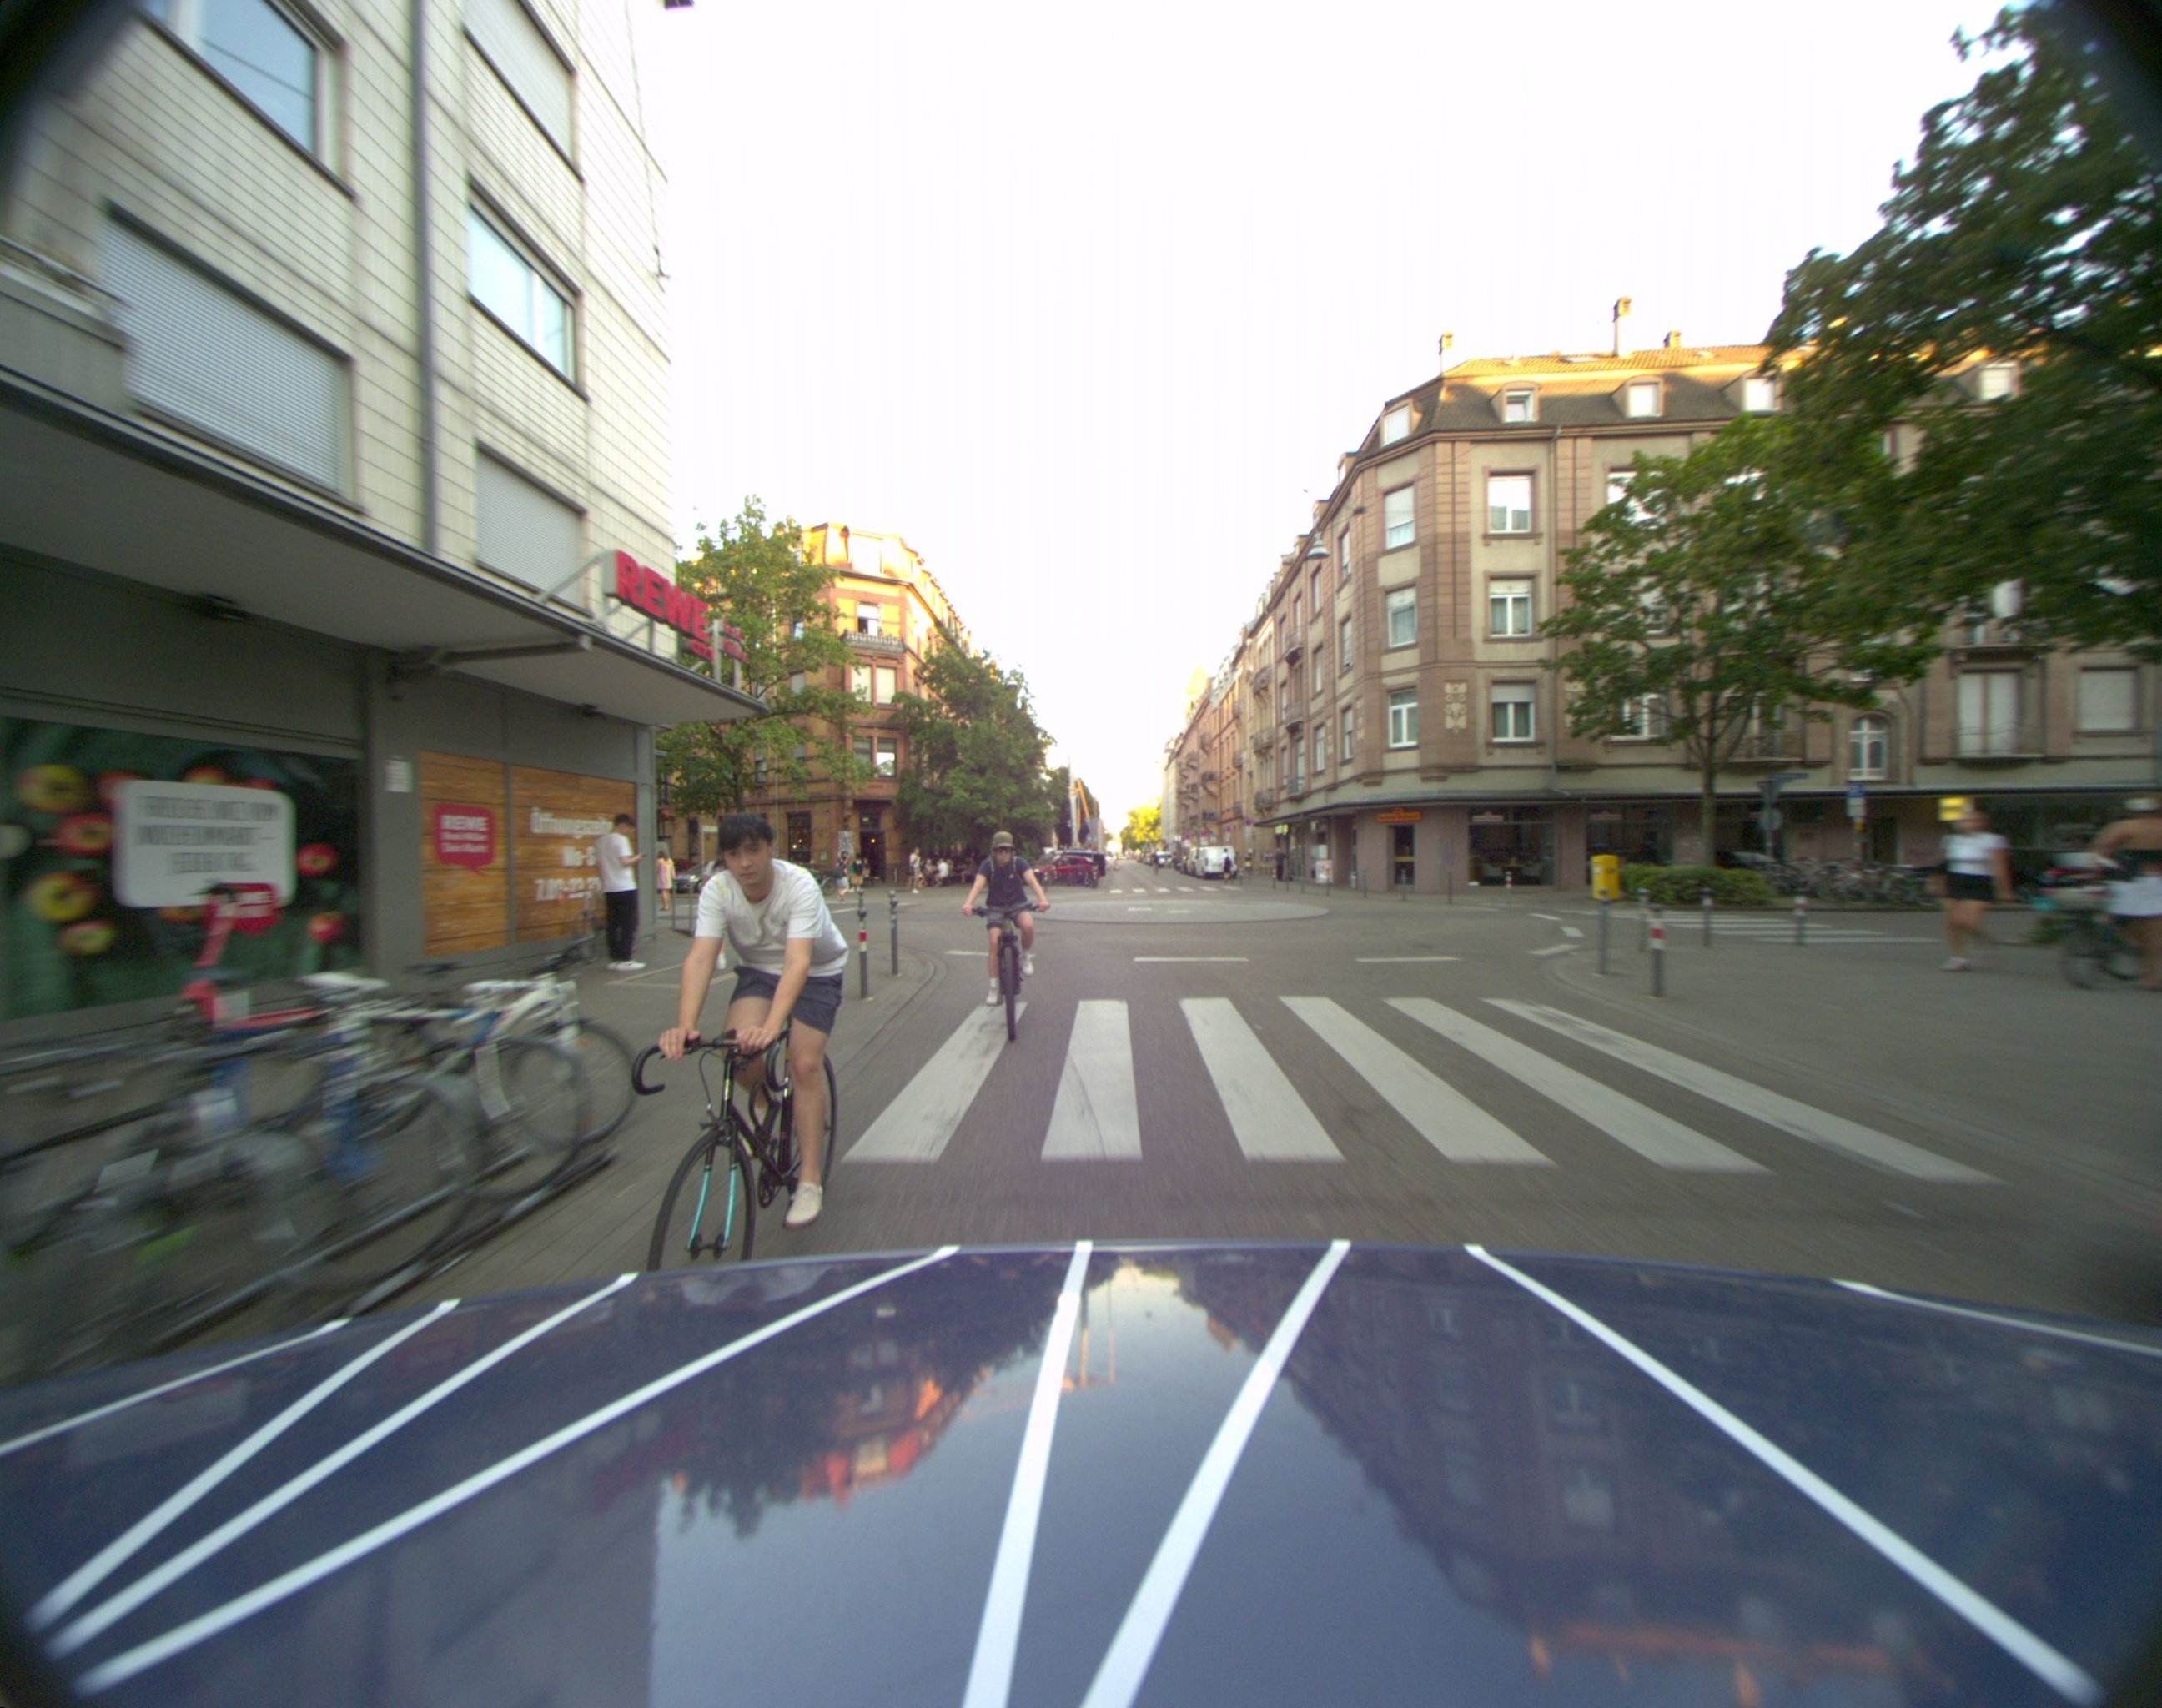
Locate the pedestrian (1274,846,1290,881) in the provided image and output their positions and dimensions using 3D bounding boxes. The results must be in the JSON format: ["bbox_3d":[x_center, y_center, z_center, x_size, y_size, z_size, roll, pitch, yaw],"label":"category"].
[{"bbox_3d":[10.270,0.481,38.842,0.654,1.768,0.693,-2,0,21],"label":"pedestrian"}]

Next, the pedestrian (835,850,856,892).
[{"bbox_3d":[-10.052,0.716,32.449,0.675,1.735,0.640,-2,2,-6],"label":"pedestrian"}]

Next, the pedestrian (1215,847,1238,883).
[{"bbox_3d":[7.280,0.542,38.012,0.747,1.733,1.215,-1,1,28],"label":"pedestrian"}]

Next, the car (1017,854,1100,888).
[{"bbox_3d":[-1.200,0.876,40.906,4.005,1.658,1.823,-2,2,-29],"label":"car"}]

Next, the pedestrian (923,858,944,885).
[{"bbox_3d":[-7.071,0.835,36.373,0.673,1.265,0.641,0,2,29],"label":"pedestrian"}]

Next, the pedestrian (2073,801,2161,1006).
[{"bbox_3d":[10.035,0.446,7.190,1.024,1.844,0.723,-1,-1,-37],"label":"pedestrian"}]

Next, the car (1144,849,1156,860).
[{"bbox_3d":[11.602,0.063,127.891,1.907,1.729,3.850,-1,1,6],"label":"car"}]

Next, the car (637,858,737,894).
[{"bbox_3d":[-18.748,1.009,36.356,1.624,1.494,3.982,-1,2,27],"label":"car"}]

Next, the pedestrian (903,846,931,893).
[{"bbox_3d":[-6.655,0.617,30.870,0.673,1.858,0.911,-1,2,17],"label":"pedestrian"}]

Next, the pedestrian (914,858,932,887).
[{"bbox_3d":[-7.260,0.833,34.912,0.676,1.265,0.639,-2,2,-25],"label":"pedestrian"}]

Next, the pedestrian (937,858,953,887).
[{"bbox_3d":[-6.303,0.846,35.187,0.641,1.265,0.674,-2,2,-12],"label":"pedestrian"}]

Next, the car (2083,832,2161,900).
[{"bbox_3d":[30.008,0.335,19.998,1.998,1.828,4.000,0,2,3],"label":"car"}]

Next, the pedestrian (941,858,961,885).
[{"bbox_3d":[-6.249,0.819,36.542,0.639,1.265,0.676,0,2,41],"label":"pedestrian"}]

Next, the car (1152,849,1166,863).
[{"bbox_3d":[10.959,0.239,106.844,1.998,1.729,4.001,-1,1,6],"label":"car"}]

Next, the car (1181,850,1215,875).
[{"bbox_3d":[9.016,0.604,58.808,2.140,1.811,4.541,-1,0,3],"label":"car"}]

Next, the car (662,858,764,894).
[{"bbox_3d":[-16.778,0.983,34.853,1.624,1.412,3.982,-1,2,27],"label":"car"}]

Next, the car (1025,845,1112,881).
[{"bbox_3d":[-0.811,0.542,49.265,5.152,2.085,2.113,-2,2,-23],"label":"car"}]

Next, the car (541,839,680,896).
[{"bbox_3d":[-23.267,0.601,37.866,2.115,2.443,5.496,-1,3,25],"label":"car"}]

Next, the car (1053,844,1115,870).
[{"bbox_3d":[0.240,0.254,69.522,5.152,2.182,2.334,-2,2,-23],"label":"car"}]

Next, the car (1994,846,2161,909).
[{"bbox_3d":[27.322,0.562,19.954,1.851,1.502,3.999,0,1,1],"label":"car"}]

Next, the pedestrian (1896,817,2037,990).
[{"bbox_3d":[9.894,0.529,8.497,1.051,1.800,0.754,0,-2,-29],"label":"pedestrian"}]

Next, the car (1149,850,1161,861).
[{"bbox_3d":[11.813,0.231,121.919,1.867,1.729,3.800,-1,1,6],"label":"car"}]

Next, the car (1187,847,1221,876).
[{"bbox_3d":[8.547,0.472,52.951,1.879,1.892,4.327,-1,0,3],"label":"car"}]

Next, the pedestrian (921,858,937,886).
[{"bbox_3d":[-7.102,0.820,35.530,0.675,1.265,0.640,-2,2,-13],"label":"pedestrian"}]

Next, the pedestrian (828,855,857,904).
[{"bbox_3d":[-7.984,0.833,25.422,0.538,1.597,0.869,0,-1,14],"label":"pedestrian"}]

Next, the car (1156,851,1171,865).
[{"bbox_3d":[10.608,0.502,97.745,1.839,1.633,3.926,-1,1,6],"label":"car"}]

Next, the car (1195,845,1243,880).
[{"bbox_3d":[8.421,0.480,46.812,2.141,1.947,4.769,-2,0,1],"label":"car"}]

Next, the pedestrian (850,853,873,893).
[{"bbox_3d":[-9.295,0.786,32.165,0.673,1.628,0.642,0,2,39],"label":"pedestrian"}]

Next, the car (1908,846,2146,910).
[{"bbox_3d":[24.743,0.562,20.112,1.720,1.468,3.686,0,1,3],"label":"car"}]

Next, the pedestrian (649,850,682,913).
[{"bbox_3d":[-11.735,0.767,21.469,0.694,1.735,0.711,0,0,-20],"label":"pedestrian"}]

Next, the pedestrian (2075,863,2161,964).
[{"bbox_3d":[14.175,0.783,10.150,0.792,1.297,0.735,0,-2,-2],"label":"pedestrian"}]

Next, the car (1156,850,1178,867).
[{"bbox_3d":[9.843,0.474,87.361,2.140,1.811,4.541,-1,0,3],"label":"car"}]
